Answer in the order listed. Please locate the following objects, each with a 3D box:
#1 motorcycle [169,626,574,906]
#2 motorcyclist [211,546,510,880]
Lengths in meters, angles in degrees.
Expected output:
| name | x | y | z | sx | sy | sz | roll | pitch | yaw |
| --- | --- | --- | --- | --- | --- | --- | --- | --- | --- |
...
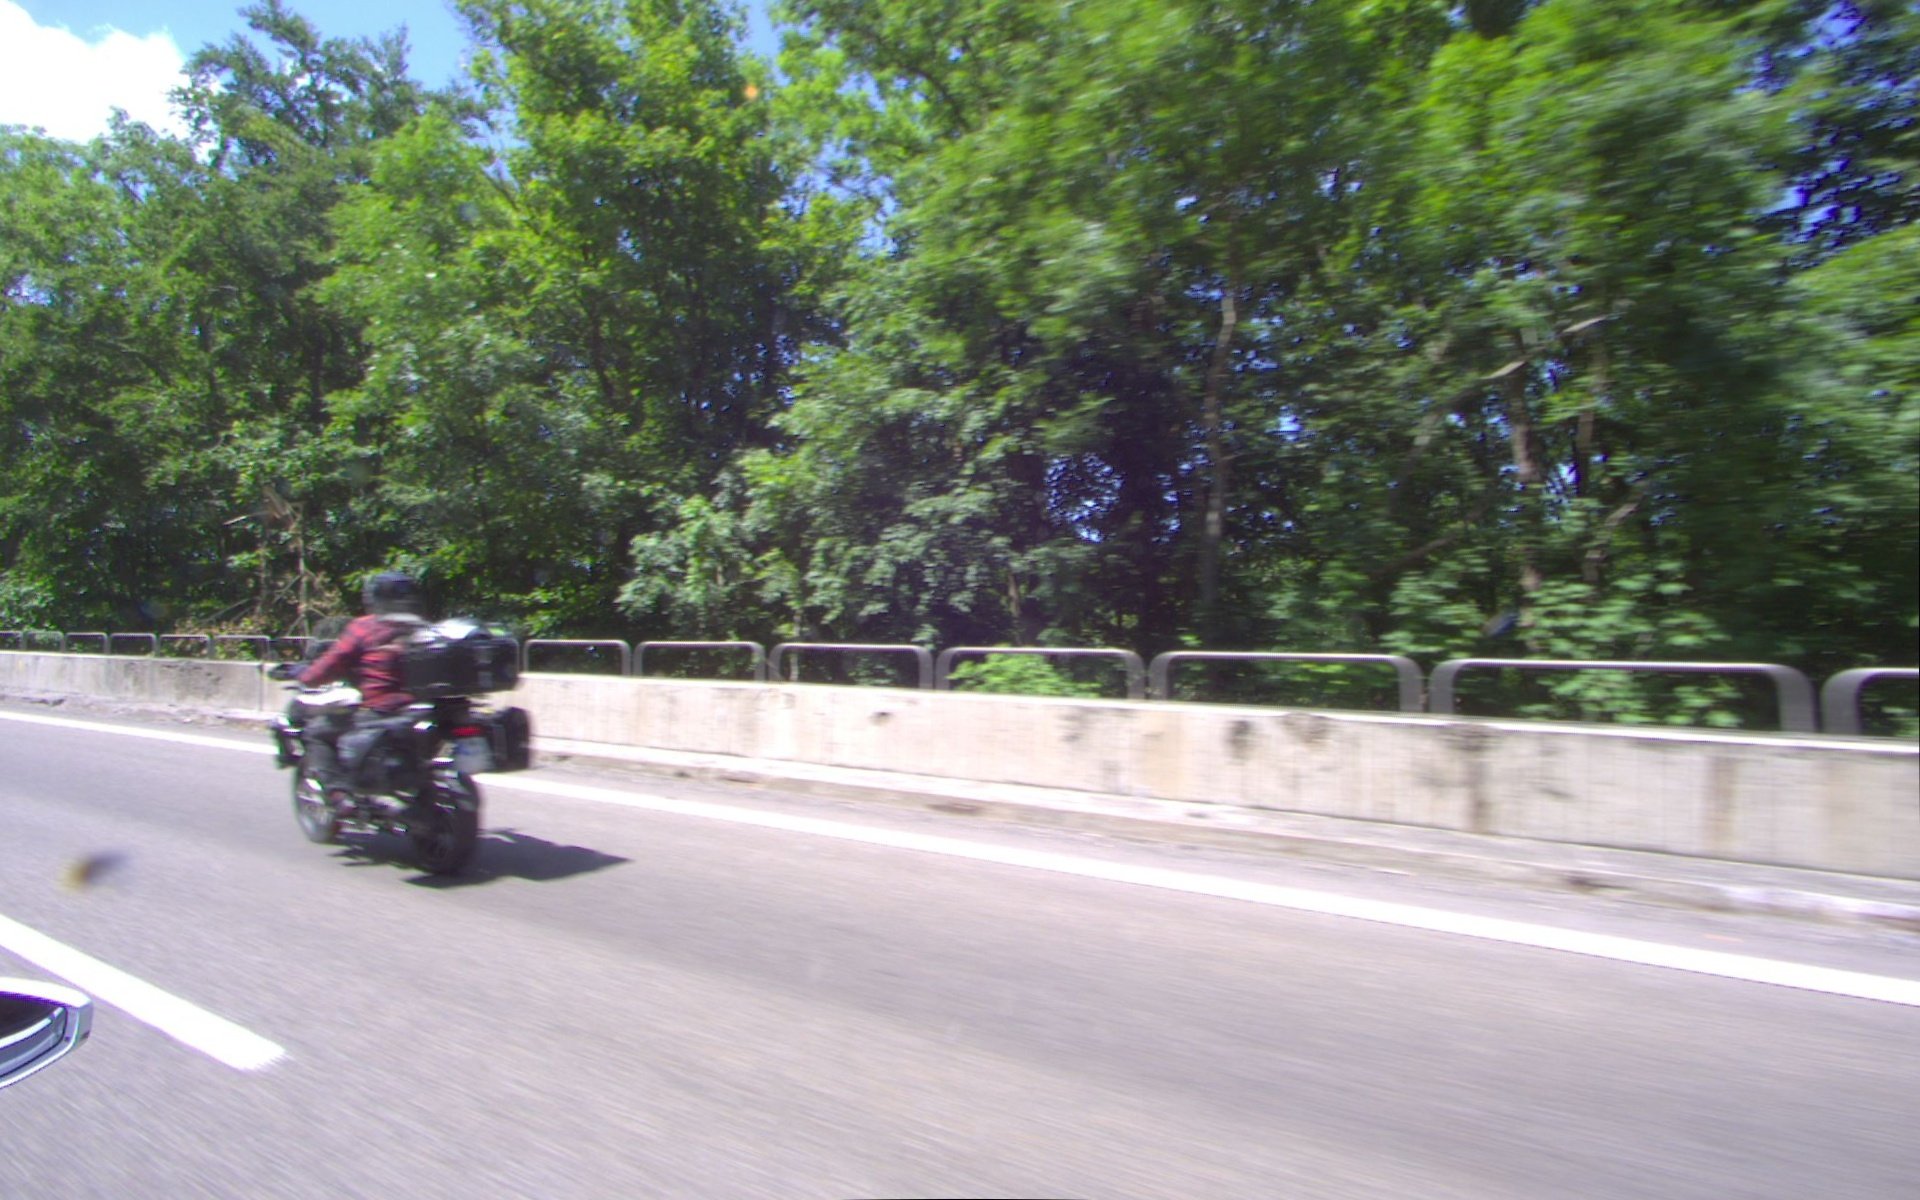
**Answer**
| name | x | y | z | sx | sy | sz | roll | pitch | yaw |
| --- | --- | --- | --- | --- | --- | --- | --- | --- | --- |
| motorcycle | -3.729 | 0.895 | 6.277 | 2.640 | 1.438 | 0.972 | 0 | -1 | 29 |
| motorcyclist | -3.720 | 0.637 | 6.255 | 1.317 | 1.823 | 1.060 | 0 | -1 | 27 |
